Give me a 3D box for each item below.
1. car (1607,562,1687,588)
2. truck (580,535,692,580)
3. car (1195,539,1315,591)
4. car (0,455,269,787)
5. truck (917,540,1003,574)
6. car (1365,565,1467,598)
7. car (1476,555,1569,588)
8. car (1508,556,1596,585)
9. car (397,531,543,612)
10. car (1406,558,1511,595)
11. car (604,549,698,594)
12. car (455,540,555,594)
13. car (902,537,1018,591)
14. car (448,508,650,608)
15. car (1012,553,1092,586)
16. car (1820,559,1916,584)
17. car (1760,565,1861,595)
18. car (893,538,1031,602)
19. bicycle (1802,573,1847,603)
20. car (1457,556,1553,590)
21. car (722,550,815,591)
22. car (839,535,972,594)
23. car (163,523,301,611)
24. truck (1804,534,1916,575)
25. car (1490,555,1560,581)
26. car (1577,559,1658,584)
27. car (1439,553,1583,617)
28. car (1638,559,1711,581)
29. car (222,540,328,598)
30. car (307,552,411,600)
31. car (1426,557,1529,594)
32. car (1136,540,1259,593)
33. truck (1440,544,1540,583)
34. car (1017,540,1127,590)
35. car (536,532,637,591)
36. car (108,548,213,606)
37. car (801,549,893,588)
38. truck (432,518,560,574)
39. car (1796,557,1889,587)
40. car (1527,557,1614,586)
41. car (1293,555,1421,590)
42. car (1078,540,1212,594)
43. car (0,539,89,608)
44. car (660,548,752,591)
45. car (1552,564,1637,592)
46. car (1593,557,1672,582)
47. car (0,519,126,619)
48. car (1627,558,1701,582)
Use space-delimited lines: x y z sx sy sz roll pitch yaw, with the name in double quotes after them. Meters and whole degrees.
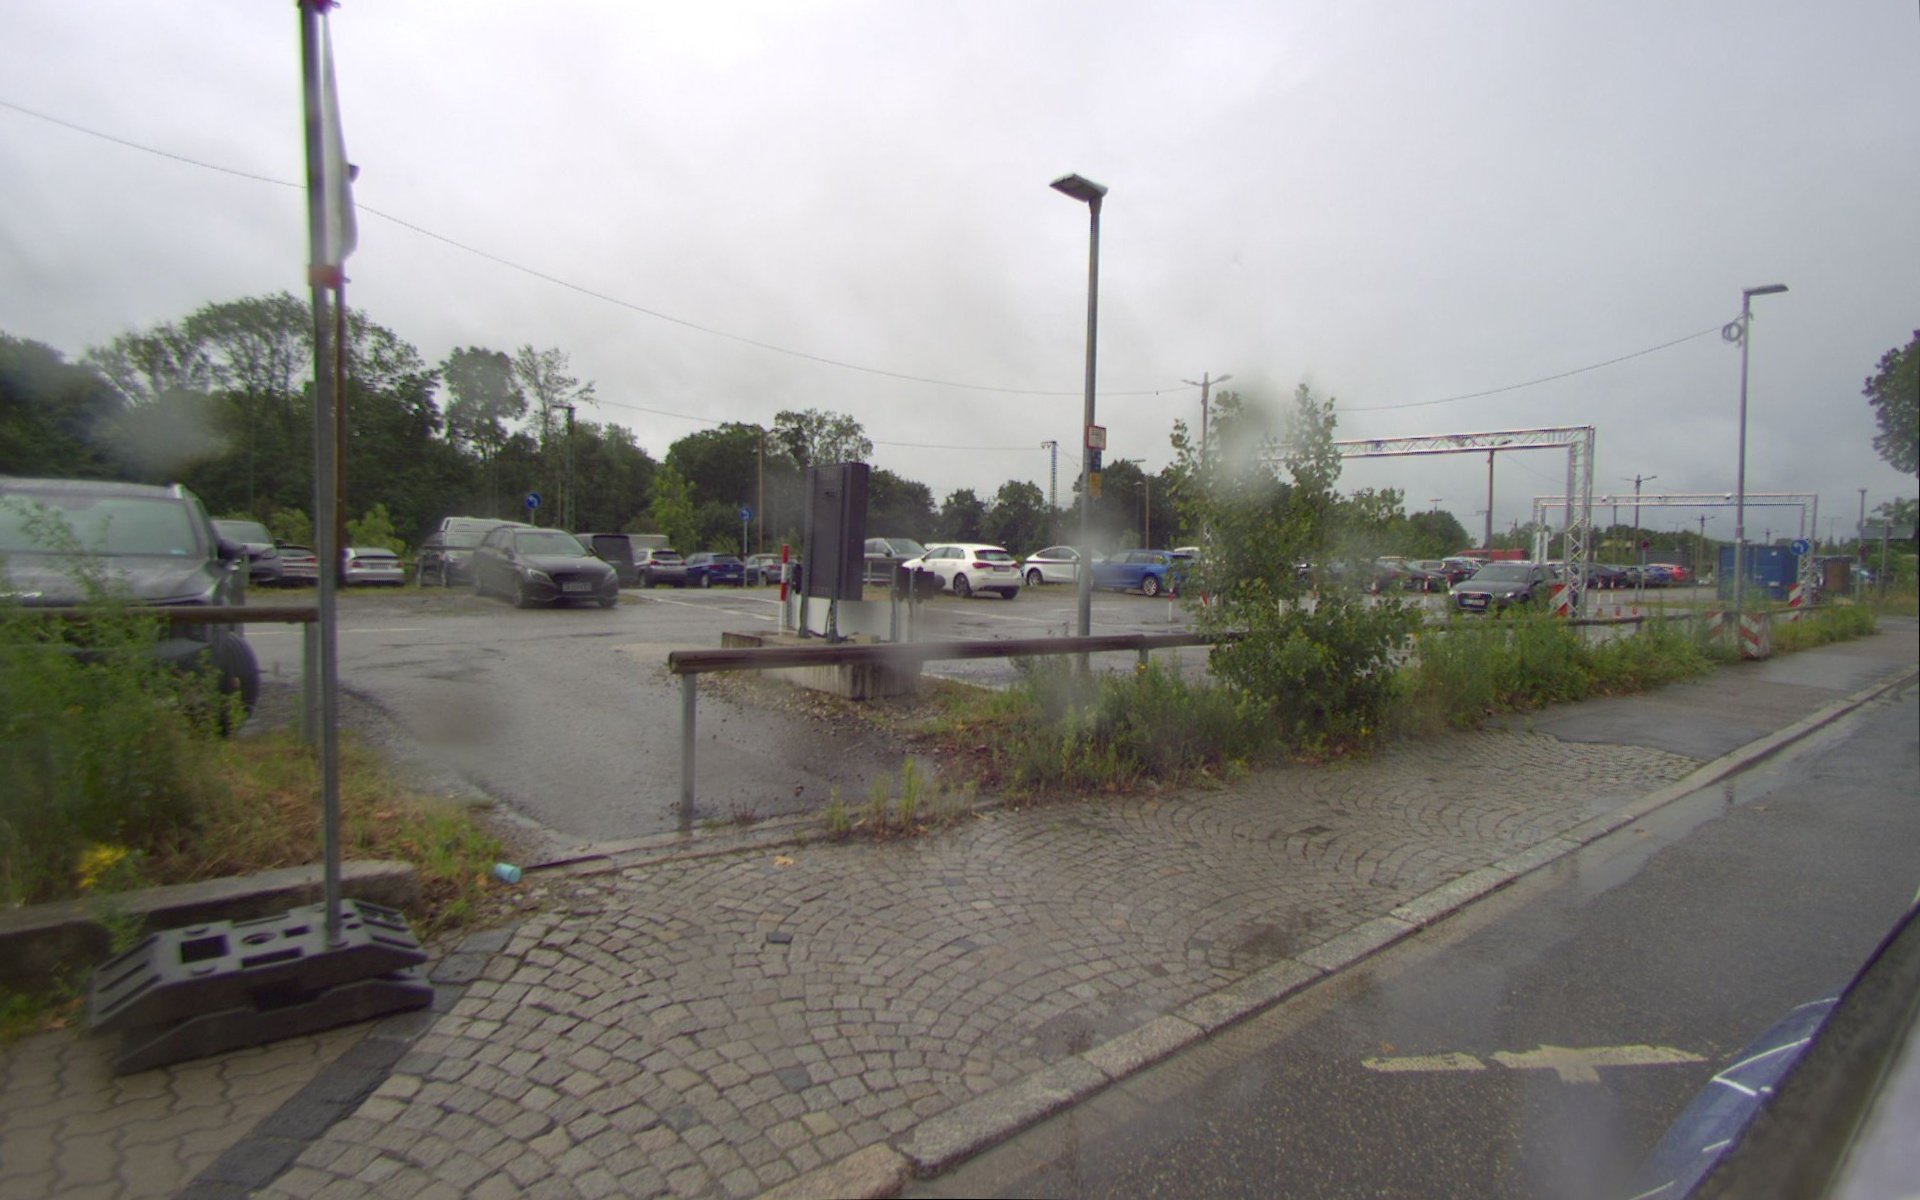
46.506 -1.717 68.565 1.891 1.508 4.078 -3 5 -38 "car"
-16.218 -2.121 50.724 4.988 2.164 2.079 -1 3 -36 "truck"
10.502 -1.308 36.187 1.754 1.602 3.788 -3 6 -37 "car"
-6.355 -0.016 7.327 2.088 1.755 4.698 -3 4 -36 "car"
0.025 -2.660 63.416 5.185 2.038 2.087 -1 3 -39 "truck"
20.494 -0.862 45.628 1.617 1.235 3.903 -2 5 -35 "car"
29.926 -1.555 53.913 1.746 1.507 3.964 -3 5 -38 "car"
33.990 -1.737 58.186 1.853 1.444 3.964 -3 5 -38 "car"
-11.766 -0.785 24.135 2.009 1.624 4.713 -3 6 -40 "car"
23.032 -1.121 46.869 1.836 1.507 3.964 -3 5 -38 "car"
-12.082 -1.142 39.398 1.985 1.608 4.328 -1 3 -40 "car"
-16.089 -1.199 35.706 3.984 1.790 1.764 3 3 41 "car"
-0.065 -1.319 35.355 1.893 1.624 4.072 -3 6 -39 "car"
-8.163 -0.814 19.904 4.620 1.737 1.988 2 3 44 "car"
4.921 -1.680 54.673 1.782 1.664 4.193 -2 4 -43 "car"
54.289 -1.732 60.546 1.833 1.437 4.164 -3 3 -43 "car"
43.302 -1.057 51.574 1.874 1.410 3.776 -3 3 -42 "car"
-0.022 -0.897 28.020 1.893 1.501 3.843 -3 6 -37 "car"
32.808 -0.460 38.416 1.667 1.097 0.510 0 3 -20 "bicycle"
27.945 -1.431 51.999 1.746 1.507 3.964 -3 5 -38 "car"
-8.059 -1.276 42.375 1.985 1.608 4.328 -1 3 -40 "car"
-1.838 -1.208 32.714 1.893 1.624 4.715 -3 6 -39 "car"
-15.790 -0.816 21.853 2.009 1.624 4.452 -3 6 -40 "car"
55.883 -2.819 62.895 2.075 2.432 5.040 -2 3 -42 "truck"
40.510 -2.336 72.617 1.763 1.822 4.000 -2 3 -36 "car"
42.238 -1.855 65.060 1.853 1.444 3.964 -3 5 -38 "car"
14.179 -0.433 25.971 4.154 1.474 1.898 -1 4 -41 "car"
52.645 -2.242 74.585 1.809 1.466 3.999 -3 5 -38 "car"
-21.103 -0.980 31.120 3.984 1.656 1.764 3 3 41 "car"
-19.415 -0.818 32.632 3.984 1.417 1.764 3 3 41 "car"
24.674 -1.204 48.373 1.836 1.507 3.964 -3 5 -38 "car"
8.133 -1.208 34.932 1.754 1.602 3.916 -3 6 -37 "car"
34.617 -2.457 66.226 2.116 2.396 5.300 -2 4 -40 "truck"
4.260 -1.398 39.089 1.801 1.678 4.068 -3 6 -42 "car"
-13.716 -1.434 37.013 1.985 2.023 4.795 -1 3 -40 "car"
-23.067 -0.708 29.158 3.984 1.511 1.688 3 3 41 "car"
-5.067 -1.444 44.959 1.986 1.608 4.327 -1 3 -41 "car"
-21.243 -2.437 46.481 4.995 2.431 2.076 -1 3 -41 "truck"
51.017 -1.646 58.564 1.865 1.614 3.901 -3 3 -42 "car"
35.804 -1.699 59.419 1.853 1.444 3.964 -3 5 -38 "car"
16.517 -1.183 42.314 1.945 1.235 4.597 -3 6 -41 "car"
5.957 -1.135 32.921 1.893 1.501 4.059 -3 6 -37 "car"
-25.399 -0.766 27.629 3.984 1.749 1.870 3 3 41 "car"
-10.335 -1.257 40.987 1.985 1.608 4.328 -1 3 -40 "car"
38.364 -1.369 61.270 1.853 1.444 3.964 -3 5 -38 "car"
44.328 -2.066 66.790 1.788 1.444 3.964 -3 5 -38 "car"
-17.284 -0.685 19.282 2.009 1.624 4.452 -3 6 -40 "car"
50.382 -2.176 72.506 1.774 1.555 3.964 -3 5 -38 "car"
